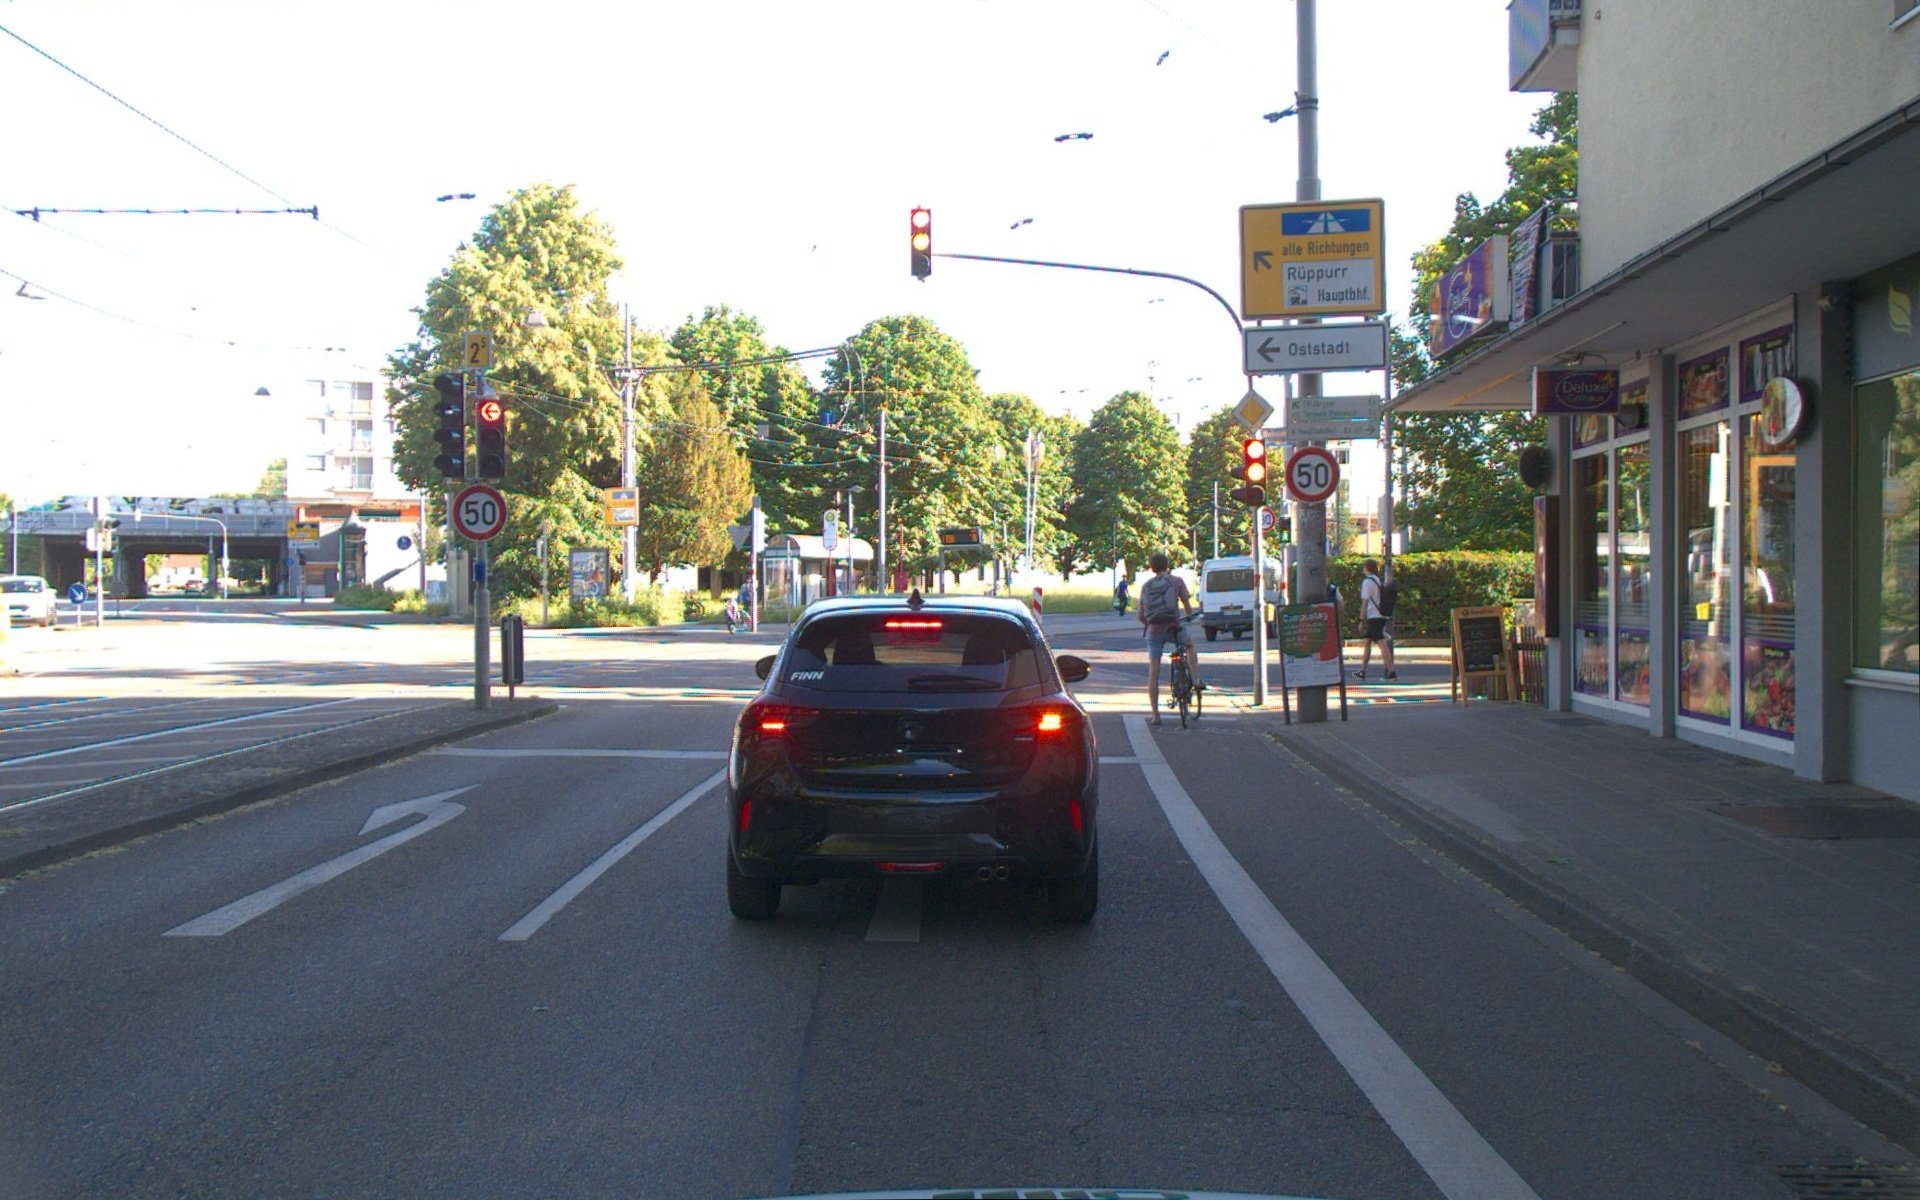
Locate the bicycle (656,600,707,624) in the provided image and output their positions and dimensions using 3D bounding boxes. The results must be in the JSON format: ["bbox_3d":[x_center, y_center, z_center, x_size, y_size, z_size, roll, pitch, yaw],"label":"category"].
[{"bbox_3d":[-10.714,0.458,63.673,1.837,0.922,0.660,0,0,6],"label":"bicycle"}]

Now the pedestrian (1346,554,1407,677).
[{"bbox_3d":[6.483,0.231,25.754,0.691,1.878,0.697,0,0,39],"label":"pedestrian"}]

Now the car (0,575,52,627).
[{"bbox_3d":[-31.408,0.013,54.976,1.974,1.660,4.581,-1,1,-31],"label":"car"}]

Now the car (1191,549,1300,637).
[{"bbox_3d":[8.028,-0.175,46.150,2.047,2.317,4.304,1,0,23],"label":"car"}]

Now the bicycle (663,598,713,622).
[{"bbox_3d":[-10.634,0.402,64.659,1.837,0.922,0.660,0,0,6],"label":"bicycle"}]

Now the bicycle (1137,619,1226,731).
[{"bbox_3d":[2.358,0.772,17.795,0.653,1.078,2.082,0,1,-1],"label":"bicycle"}]

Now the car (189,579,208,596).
[{"bbox_3d":[-94.237,-1.538,204.545,1.970,2.049,3.965,1,0,-27],"label":"car"}]

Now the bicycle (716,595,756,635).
[{"bbox_3d":[-6.286,0.403,46.534,0.808,1.078,1.883,0,1,2],"label":"bicycle"}]

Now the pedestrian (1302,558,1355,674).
[{"bbox_3d":[5.875,0.251,26.373,0.684,1.823,0.617,0,0,-1],"label":"pedestrian"}]

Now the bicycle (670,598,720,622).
[{"bbox_3d":[-10.501,0.408,65.532,1.837,0.922,0.660,0,0,6],"label":"bicycle"}]

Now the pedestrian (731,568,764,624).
[{"bbox_3d":[-6.581,-0.121,51.273,0.714,1.722,0.697,0,0,38],"label":"pedestrian"}]

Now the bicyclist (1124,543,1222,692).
[{"bbox_3d":[2.277,0.169,17.806,0.823,1.536,1.368,0,0,-3],"label":"bicyclist"}]

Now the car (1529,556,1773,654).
[{"bbox_3d":[13.540,0.130,32.639,4.087,1.846,1.807,0,-2,8],"label":"car"}]

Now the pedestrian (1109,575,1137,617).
[{"bbox_3d":[7.202,-0.169,73.032,0.939,1.824,0.995,0,0,25],"label":"pedestrian"}]

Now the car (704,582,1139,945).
[{"bbox_3d":[-0.131,0.643,8.700,1.763,1.466,3.940,0,1,1],"label":"car"}]
